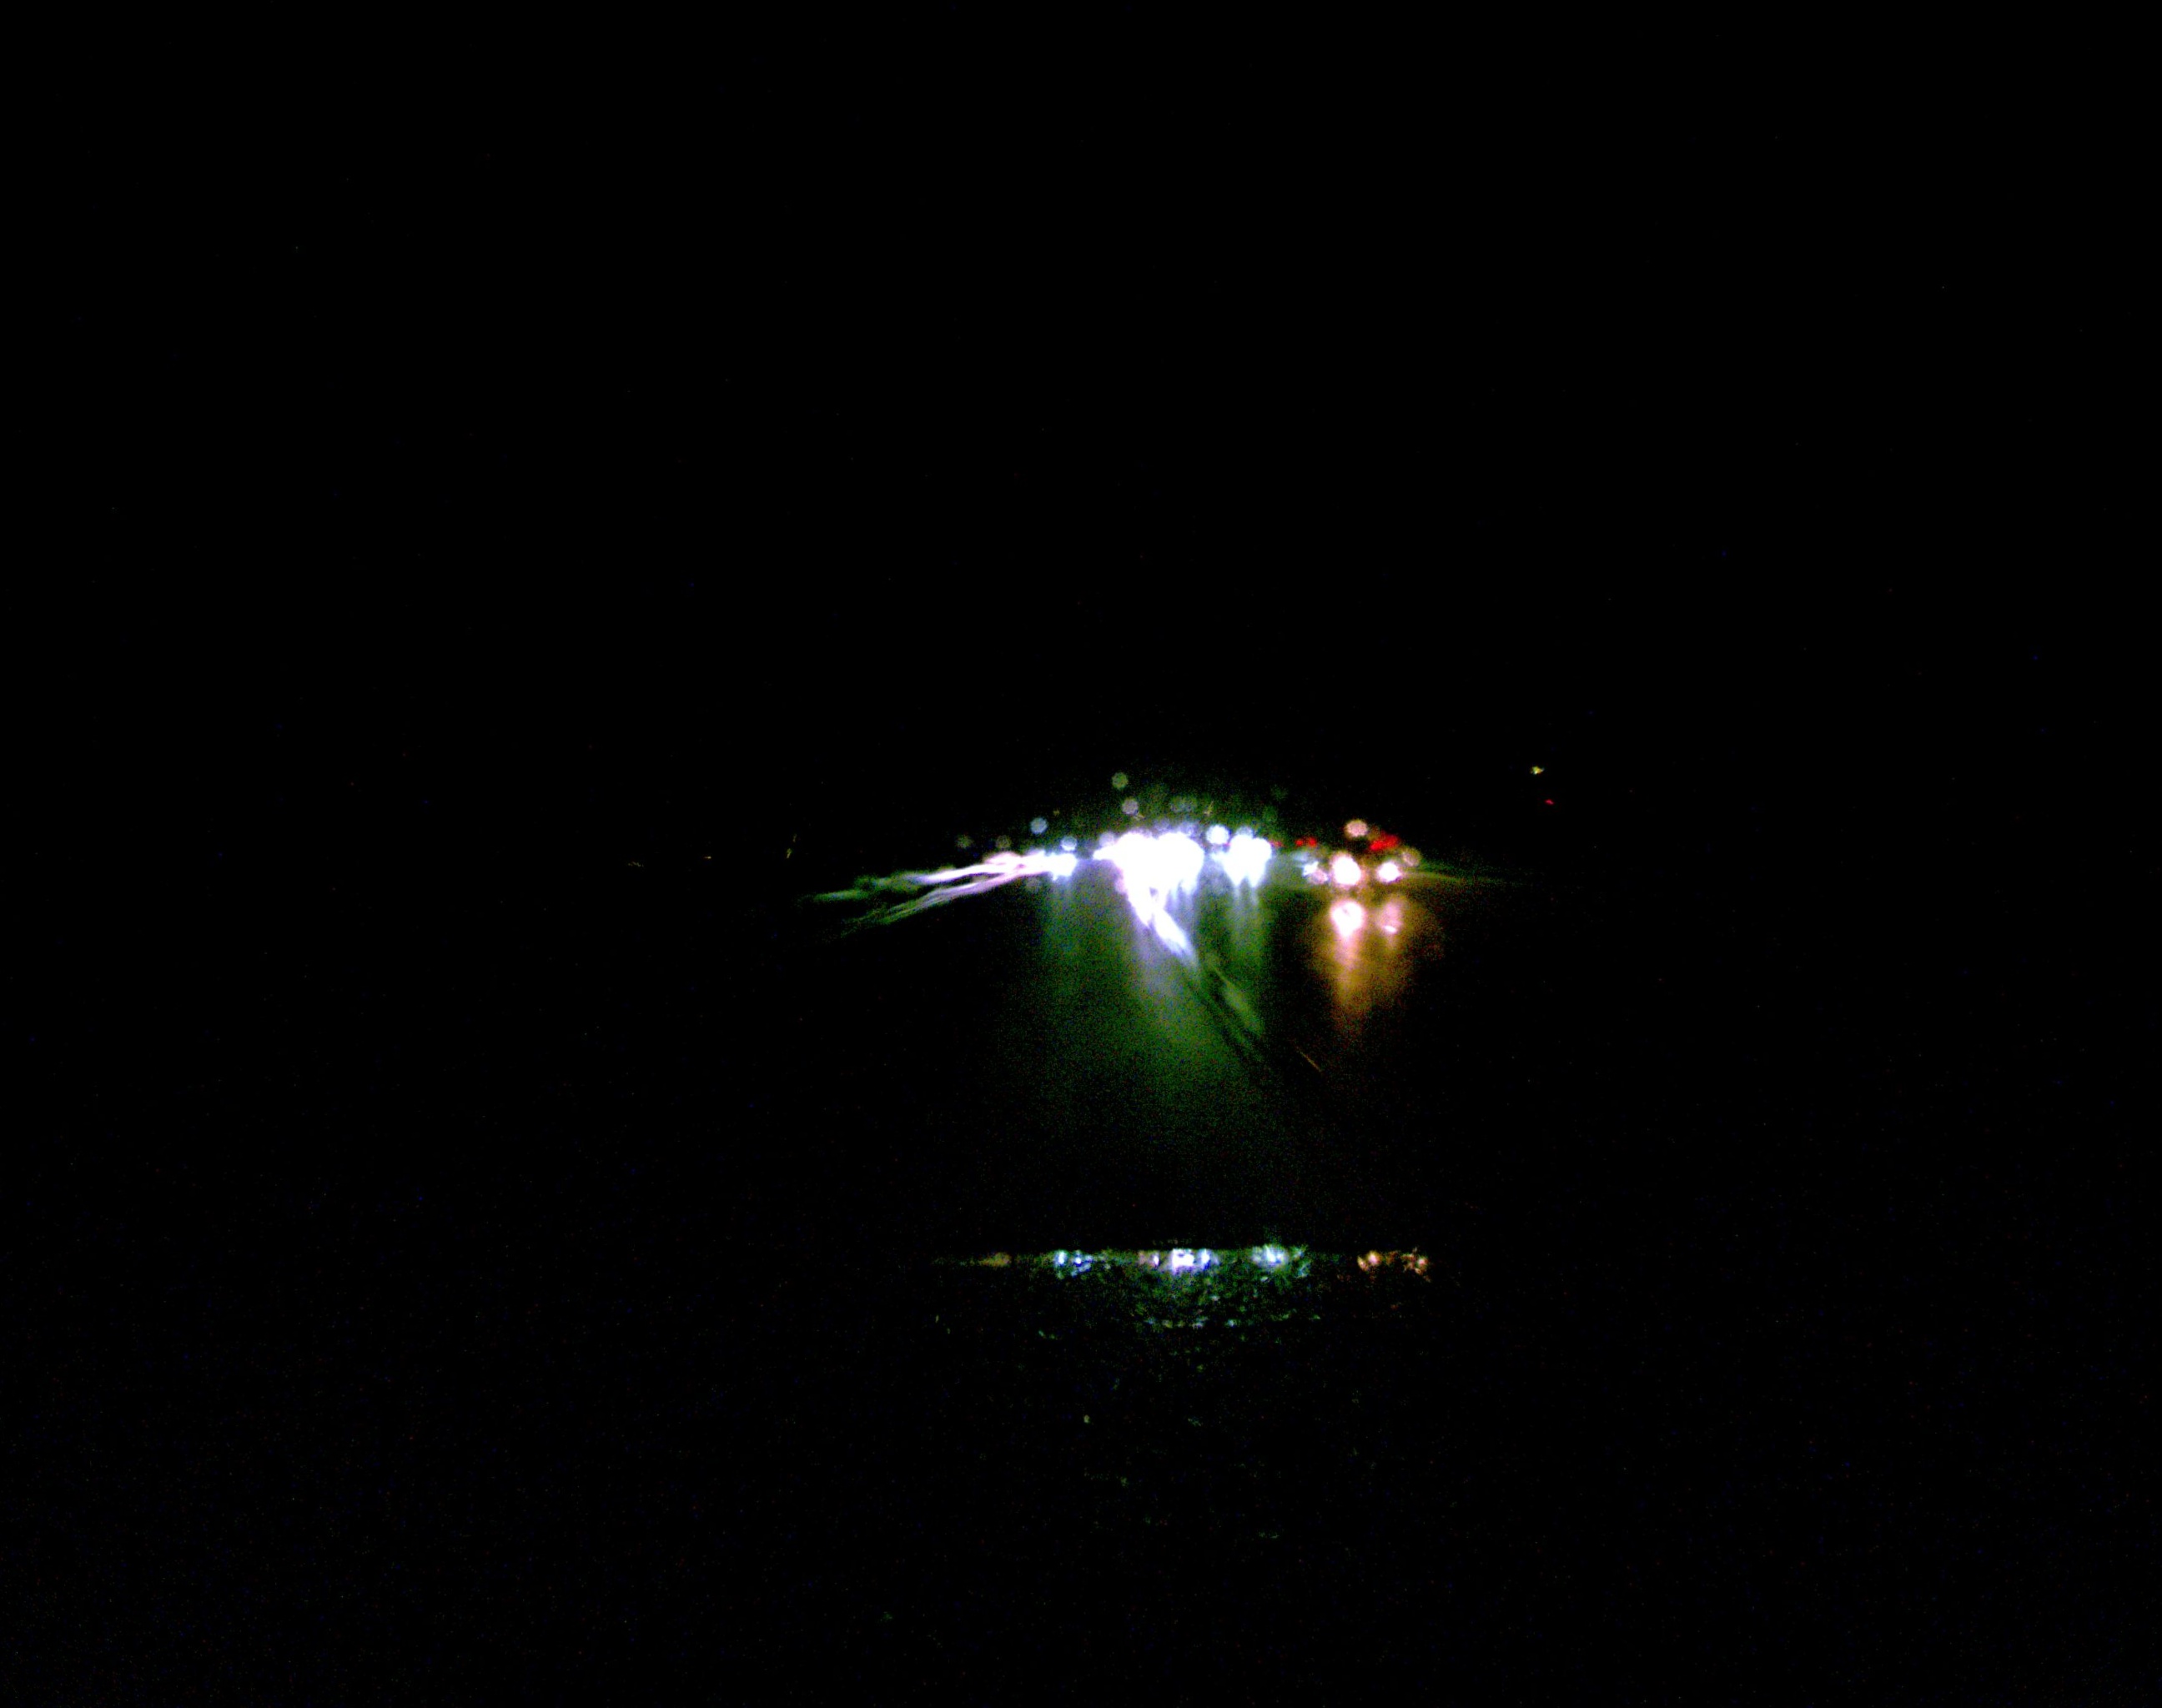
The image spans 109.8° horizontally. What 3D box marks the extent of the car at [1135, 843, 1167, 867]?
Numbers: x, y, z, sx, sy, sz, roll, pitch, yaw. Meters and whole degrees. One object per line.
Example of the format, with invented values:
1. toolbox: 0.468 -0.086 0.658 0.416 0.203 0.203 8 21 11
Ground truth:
1. car: 5.093 0.033 55.786 1.921 1.587 3.999 -3 1 0

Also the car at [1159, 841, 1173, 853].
1. car: 13.809 -1.223 123.899 1.929 1.783 4.000 -5 1 3

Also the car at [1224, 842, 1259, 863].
1. car: 13.144 -0.169 62.358 1.921 1.587 3.999 -3 1 0

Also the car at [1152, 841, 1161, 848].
1. car: 20.742 -2.633 209.156 1.998 2.002 4.000 -5 1 2

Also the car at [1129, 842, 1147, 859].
1. car: 7.285 -0.441 97.260 1.998 2.002 4.000 -5 1 4

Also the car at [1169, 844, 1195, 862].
1. car: 9.850 -0.138 74.537 1.921 1.587 3.999 -3 1 0

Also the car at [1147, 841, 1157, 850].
1. car: 14.773 -1.830 158.197 1.929 1.783 4.000 -5 1 3

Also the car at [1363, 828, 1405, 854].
1. car: 26.604 -1.146 66.904 1.998 2.002 4.278 -5 1 3

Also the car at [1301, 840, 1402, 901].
1. car: 7.914 0.418 22.611 1.726 1.587 4.000 -3 1 3

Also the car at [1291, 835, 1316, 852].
1. car: 28.067 -1.342 96.010 1.998 2.002 4.278 -5 1 3

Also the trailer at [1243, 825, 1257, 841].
1. trailer: 43.646 -5.533 196.695 2.657 3.709 13.950 -4 1 10

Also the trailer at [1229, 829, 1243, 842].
1. trailer: 52.599 -6.163 258.053 2.776 4.006 14.017 -5 1 6

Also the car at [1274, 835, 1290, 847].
1. car: 38.448 -2.499 145.400 1.998 1.970 4.000 -5 1 3

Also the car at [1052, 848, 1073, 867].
1. car: -1.899 0.359 77.570 1.999 1.738 4.099 -5 1 -2

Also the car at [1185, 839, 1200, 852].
1. car: 17.449 -1.338 118.581 1.929 1.783 4.001 -5 1 4
